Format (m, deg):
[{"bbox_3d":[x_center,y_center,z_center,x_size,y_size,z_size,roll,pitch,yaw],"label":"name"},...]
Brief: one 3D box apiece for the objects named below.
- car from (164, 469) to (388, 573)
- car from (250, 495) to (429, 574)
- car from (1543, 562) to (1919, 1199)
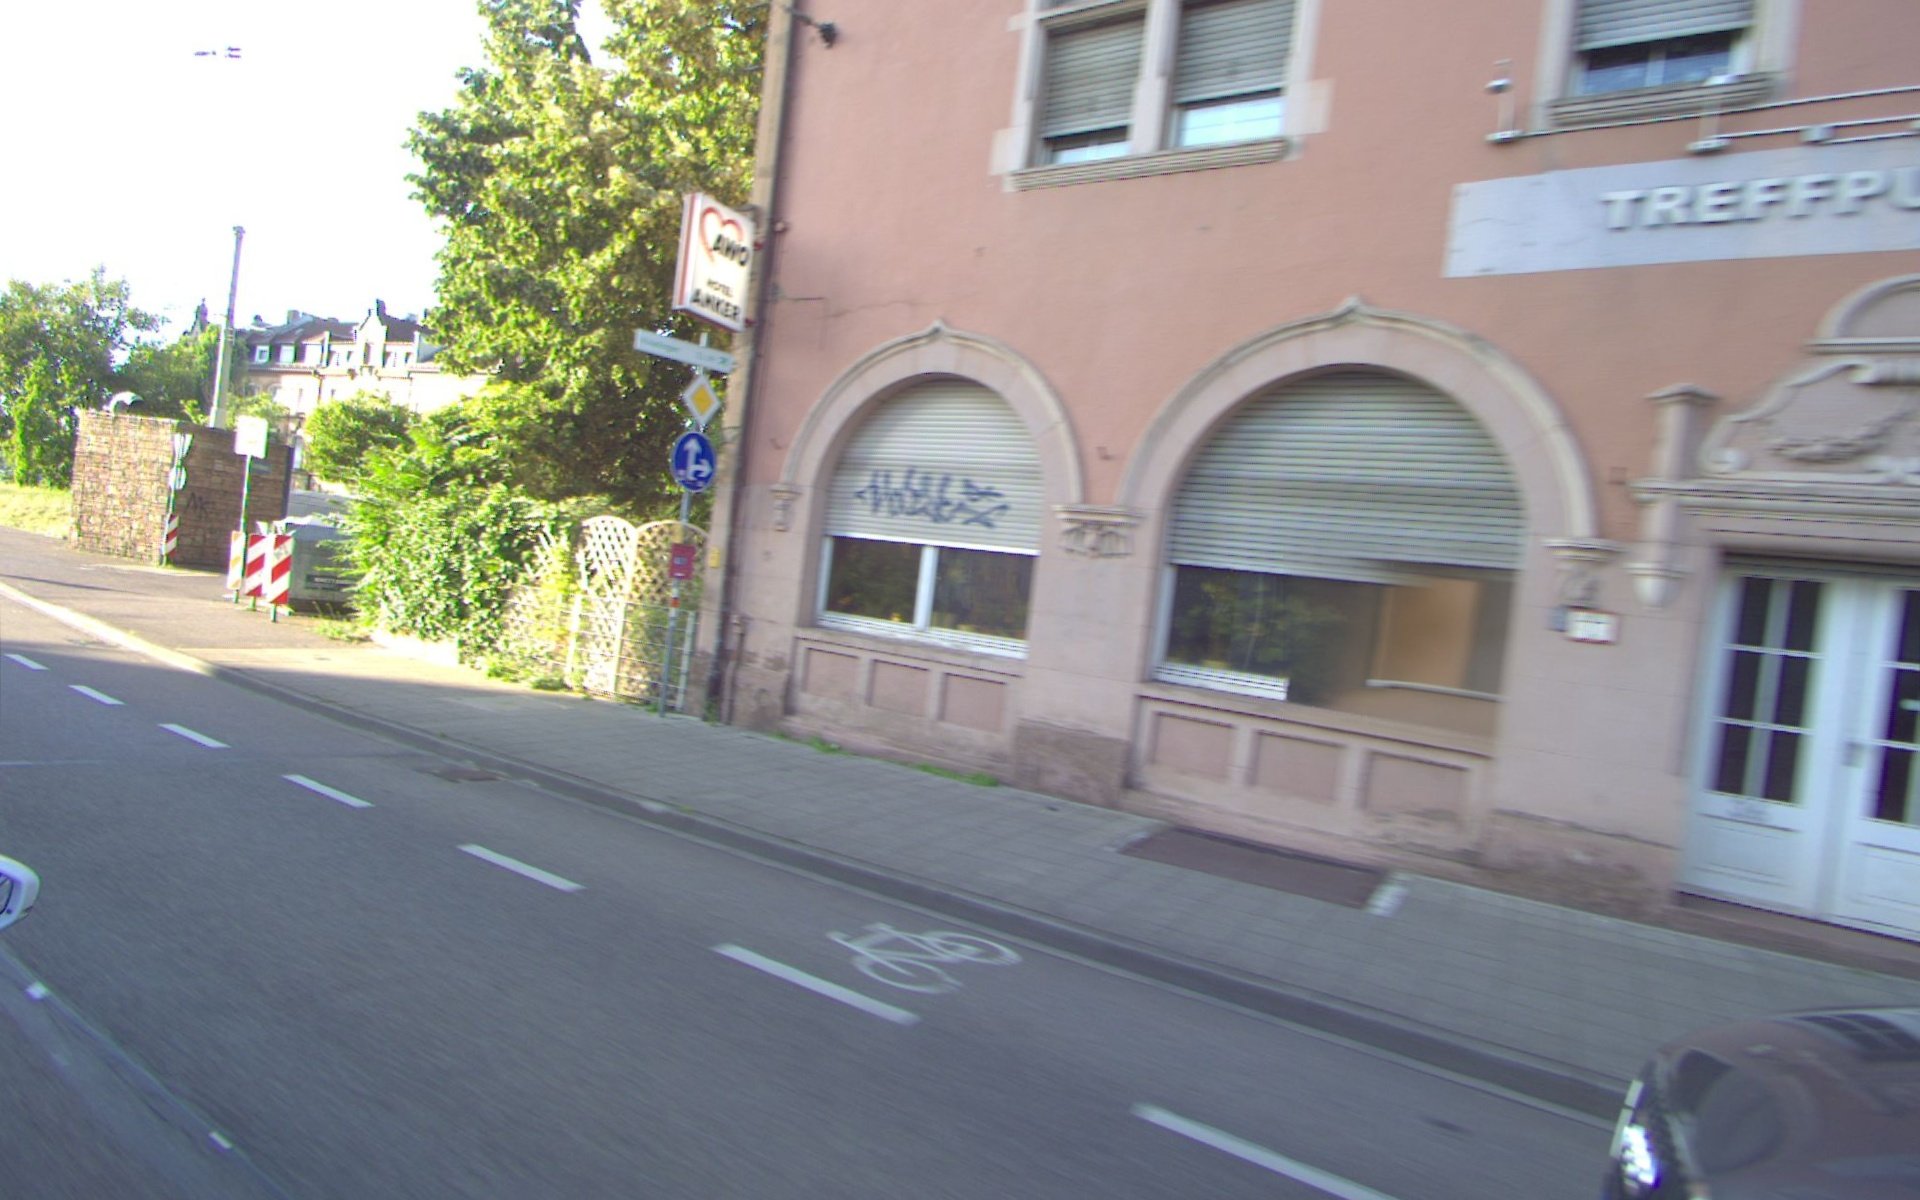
[{"bbox_3d":[-23.595,-2.688,34.895,6.101,2.700,2.042,7,1,-2],"label":"car"},{"bbox_3d":[-23.481,-2.440,38.233,5.316,2.242,2.042,7,1,-2],"label":"car"},{"bbox_3d":[2.867,1.056,0.824,3.999,1.606,1.769,8,0,31],"label":"car"}]
